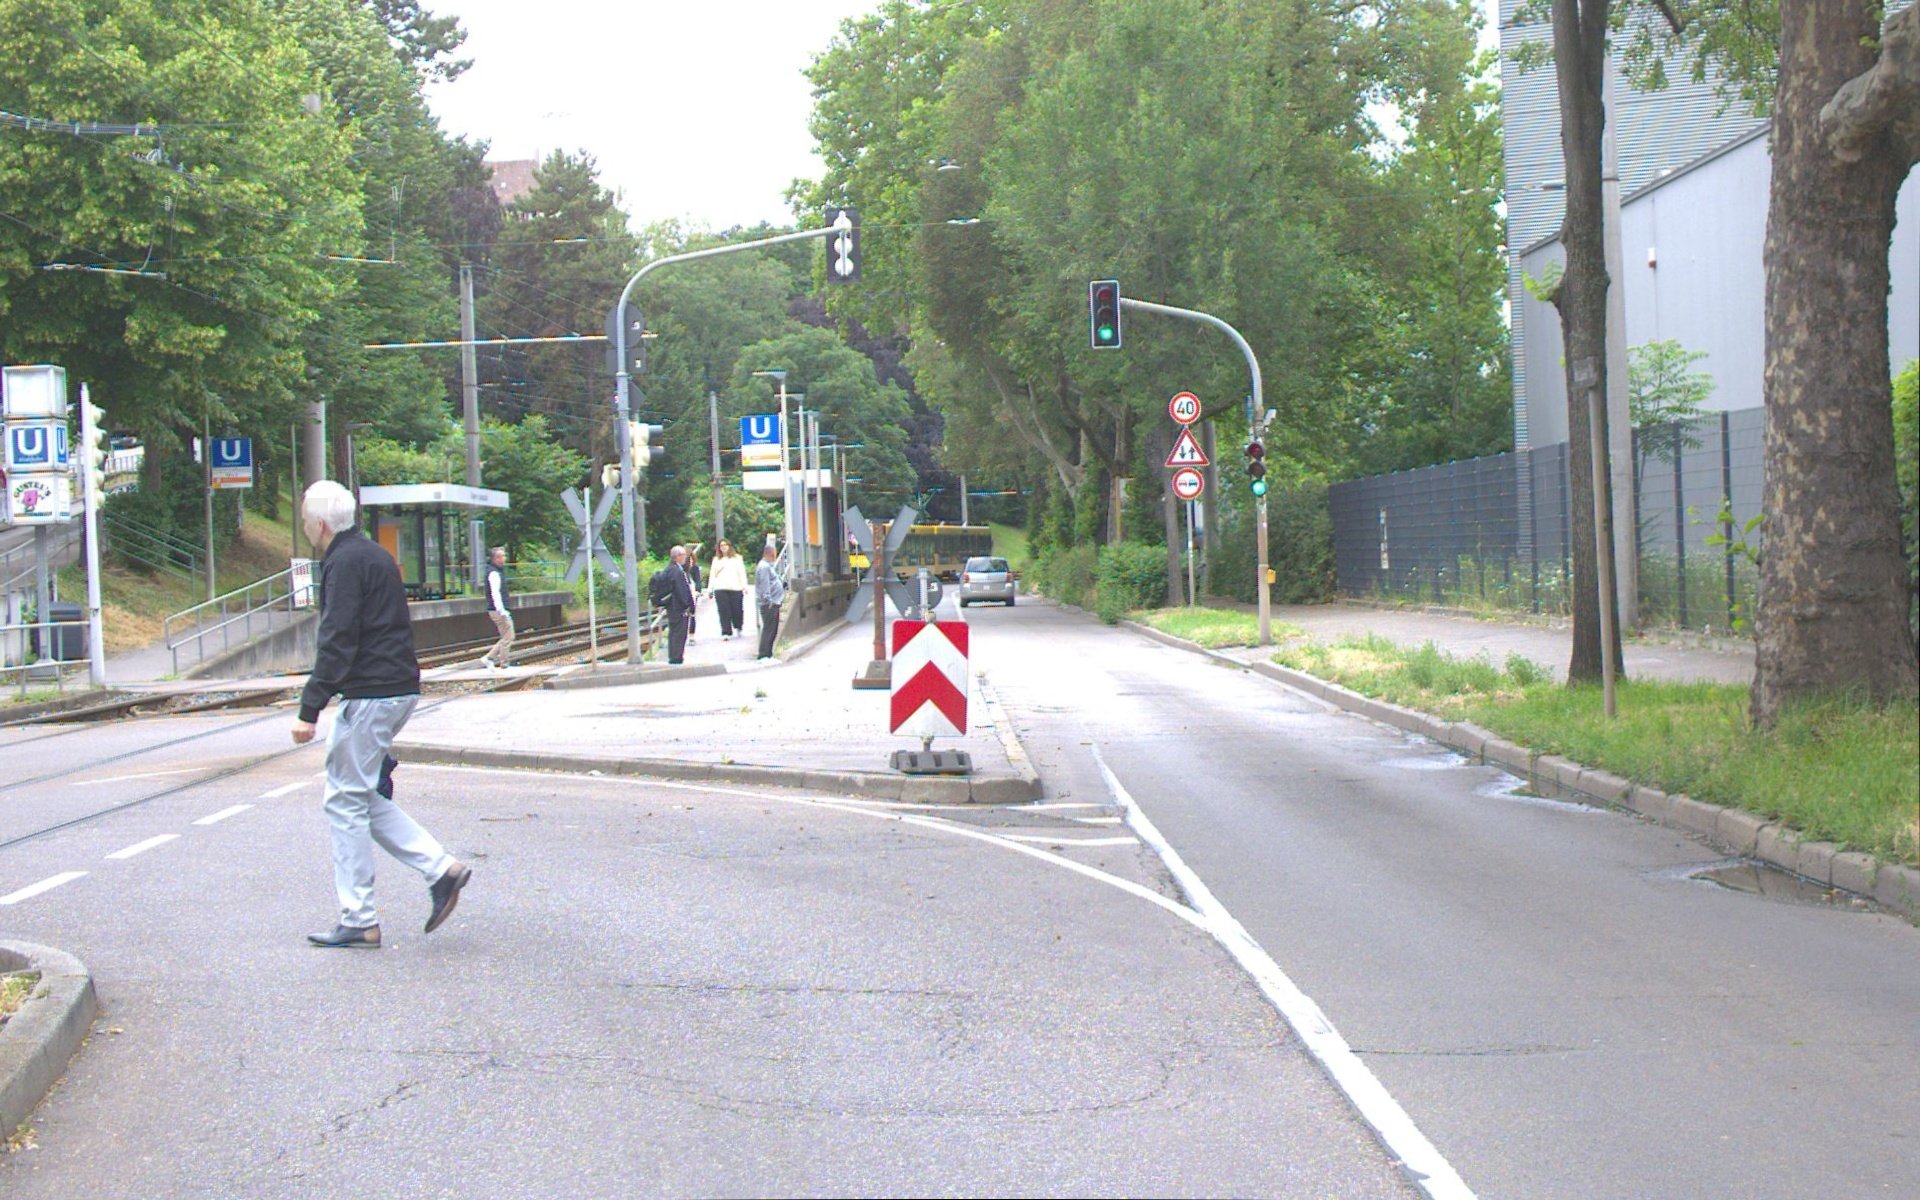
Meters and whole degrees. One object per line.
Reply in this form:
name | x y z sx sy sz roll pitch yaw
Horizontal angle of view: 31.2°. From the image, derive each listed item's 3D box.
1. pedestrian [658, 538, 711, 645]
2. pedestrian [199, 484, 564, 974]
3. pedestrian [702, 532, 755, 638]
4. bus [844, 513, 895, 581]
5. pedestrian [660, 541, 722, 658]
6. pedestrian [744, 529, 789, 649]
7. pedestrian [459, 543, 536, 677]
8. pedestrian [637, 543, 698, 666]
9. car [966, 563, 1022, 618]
pedestrian | -4.314 -0.138 53.745 0.735 1.659 0.682 1 0 -11
pedestrian | -2.187 0.453 12.983 1.120 1.754 0.811 1 1 40
pedestrian | -3.675 -0.237 54.562 0.735 1.659 0.682 1 0 -11
bus | -5.035 -2.911 189.806 2.734 3.614 8.943 1 1 -2
pedestrian | -3.890 -0.011 49.745 0.680 1.659 0.737 1 0 15
pedestrian | -2.860 -0.159 50.784 0.550 1.752 0.737 1 0 4
pedestrian | -6.370 0.135 47.355 0.669 1.815 0.804 1 0 30
pedestrian | -3.998 0.060 46.992 0.735 1.659 0.682 1 0 1
car | 1.086 -0.321 111.739 1.743 1.593 4.001 0 2 -1
